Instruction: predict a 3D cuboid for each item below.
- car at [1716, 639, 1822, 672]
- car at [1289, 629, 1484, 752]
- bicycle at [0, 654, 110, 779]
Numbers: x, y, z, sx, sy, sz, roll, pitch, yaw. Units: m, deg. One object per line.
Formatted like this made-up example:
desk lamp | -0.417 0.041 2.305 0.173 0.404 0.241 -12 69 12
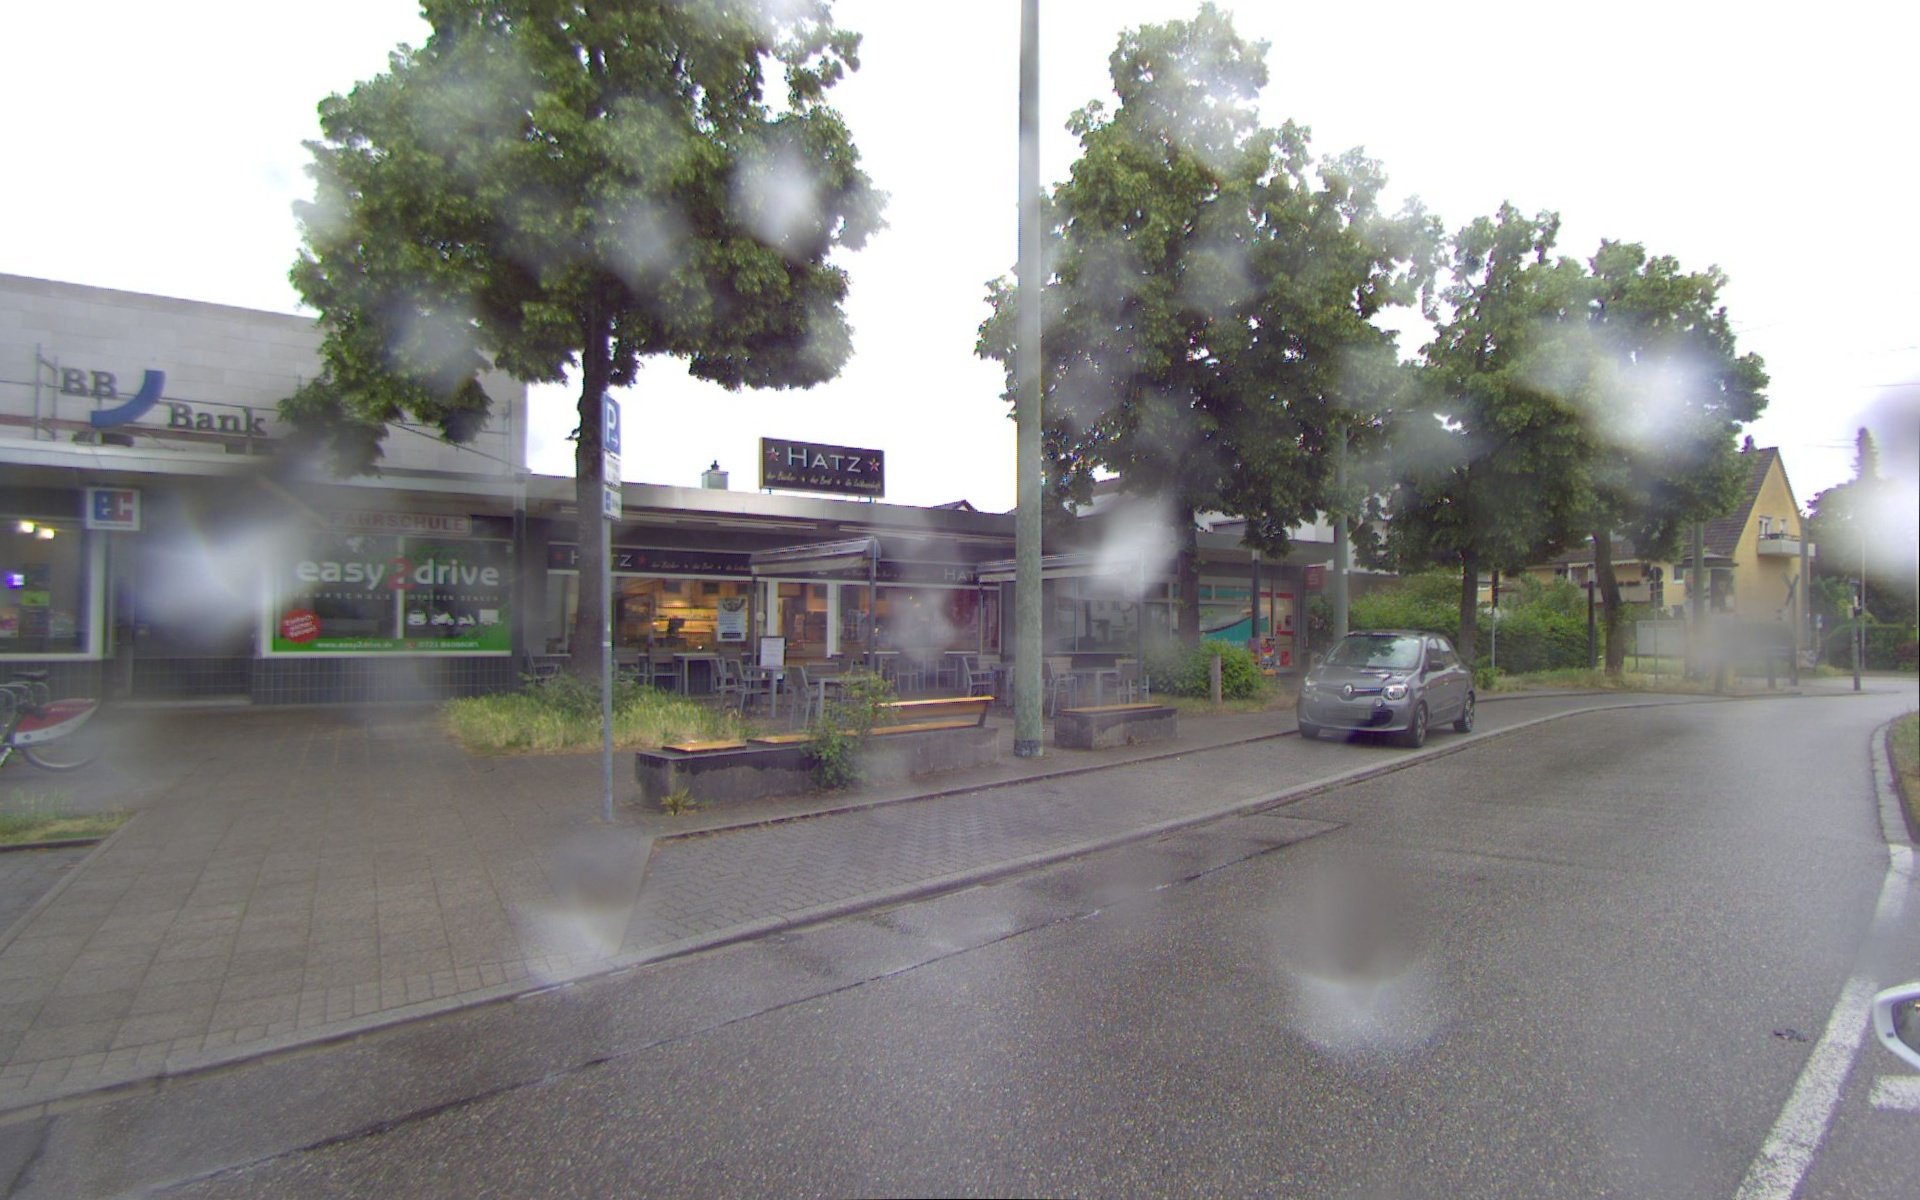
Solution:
car | 41.960 2.844 52.185 1.815 1.476 3.960 2 0 -35
car | 6.378 1.229 14.825 1.598 1.516 3.649 2 0 40
bicycle | -9.001 1.079 9.260 0.314 1.122 1.739 2 0 43
